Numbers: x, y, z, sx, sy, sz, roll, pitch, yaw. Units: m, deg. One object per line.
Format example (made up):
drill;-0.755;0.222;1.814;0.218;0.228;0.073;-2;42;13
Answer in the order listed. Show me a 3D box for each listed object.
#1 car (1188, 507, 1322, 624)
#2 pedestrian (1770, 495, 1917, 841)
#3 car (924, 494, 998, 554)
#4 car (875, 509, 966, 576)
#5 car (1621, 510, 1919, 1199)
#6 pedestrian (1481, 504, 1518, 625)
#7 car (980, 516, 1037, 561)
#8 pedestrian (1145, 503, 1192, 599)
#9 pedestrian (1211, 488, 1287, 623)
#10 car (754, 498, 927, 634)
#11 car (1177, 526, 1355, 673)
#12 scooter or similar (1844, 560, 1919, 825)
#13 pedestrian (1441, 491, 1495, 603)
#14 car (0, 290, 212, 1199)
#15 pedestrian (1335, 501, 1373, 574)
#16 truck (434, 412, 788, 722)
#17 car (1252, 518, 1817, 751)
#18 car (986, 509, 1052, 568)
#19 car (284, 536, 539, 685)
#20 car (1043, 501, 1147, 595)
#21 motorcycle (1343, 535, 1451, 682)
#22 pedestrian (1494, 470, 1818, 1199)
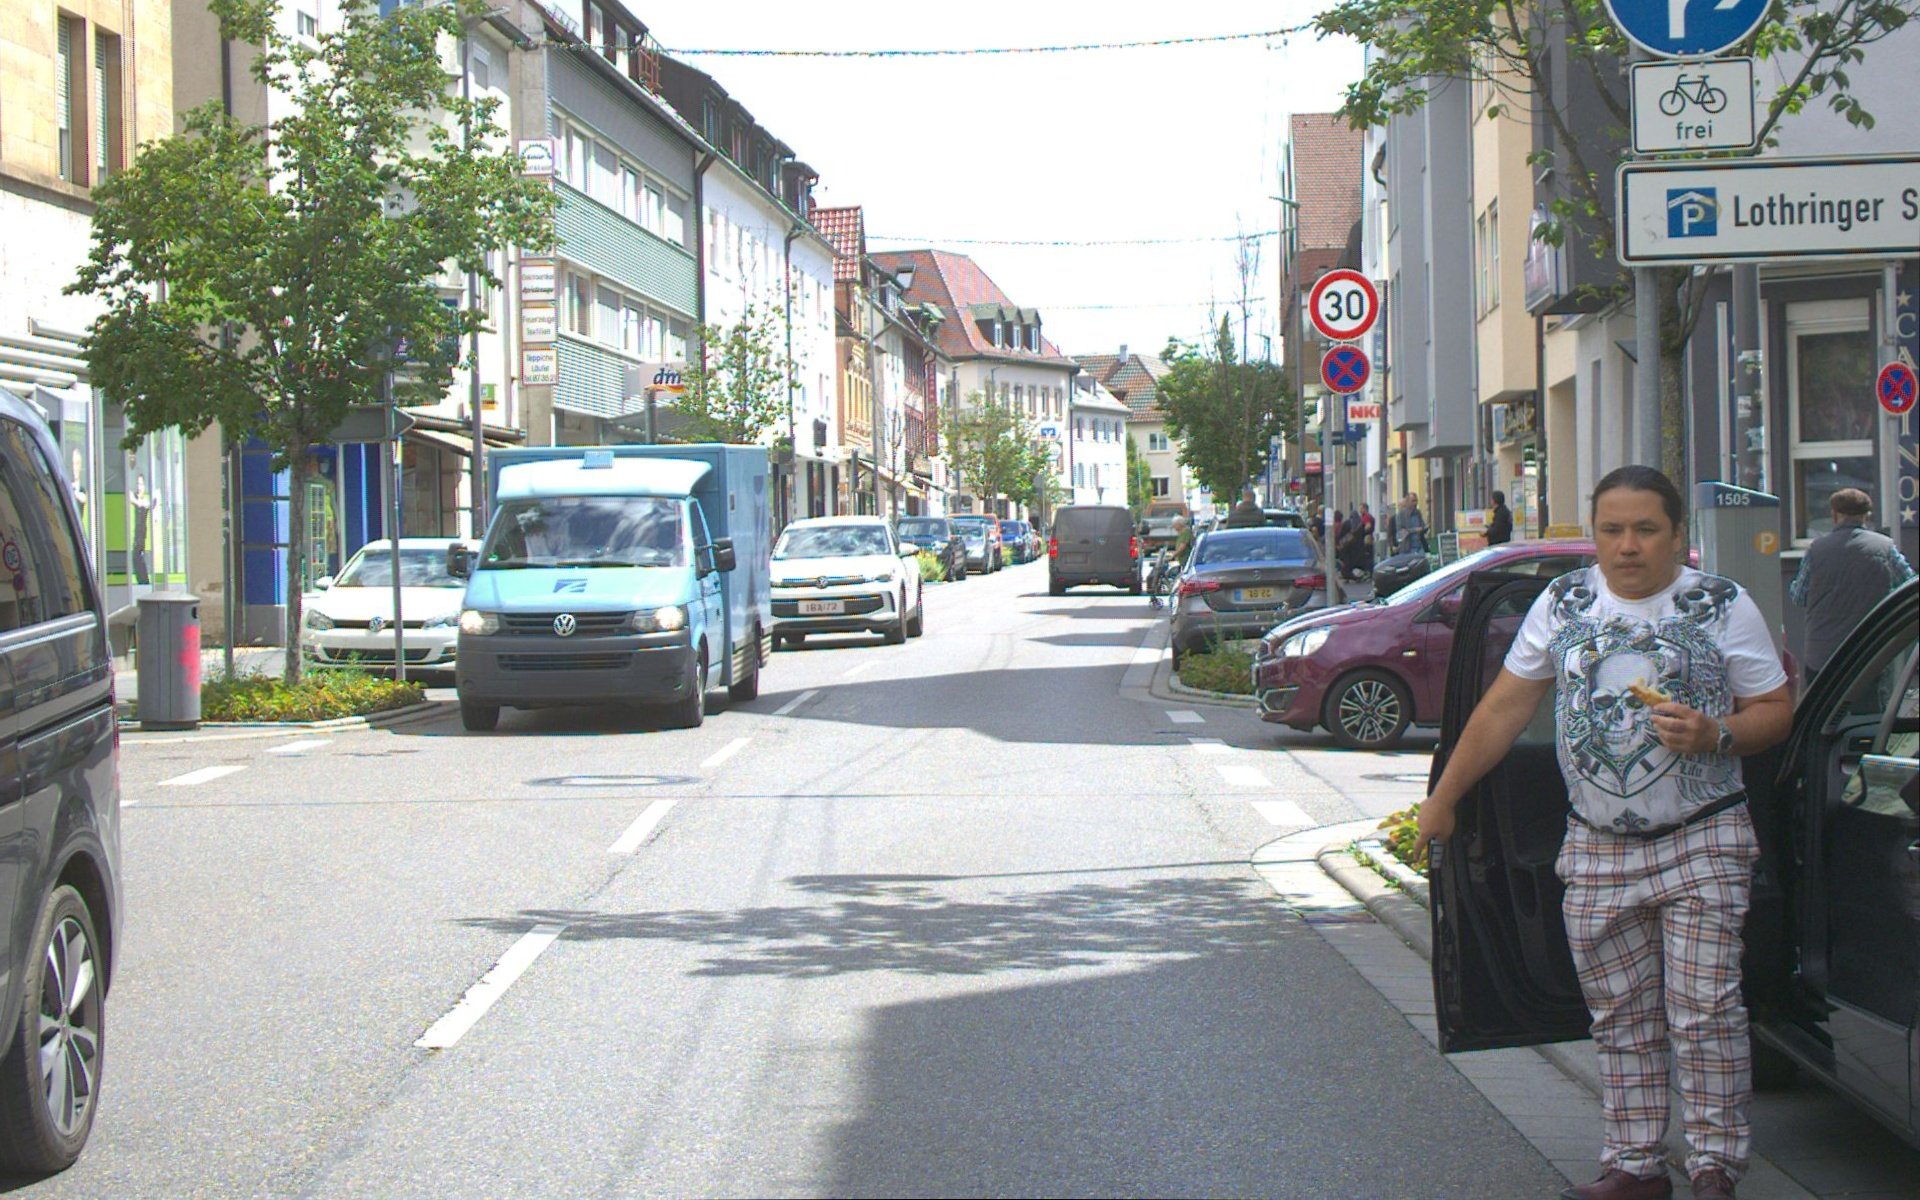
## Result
car;4.380;-0.547;51.487;1.799;1.598;4.204;-2;1;3
pedestrian;4.415;0.333;17.195;0.571;1.697;0.482;1;0;-3
car;0.065;-2.322;105.502;1.816;1.749;4.463;1;1;6
car;-1.033;-1.522;92.327;1.816;1.749;4.667;1;1;7
car;2.669;0.529;7.359;1.715;1.449;4.552;0;1;1
pedestrian;7.674;-0.506;48.942;0.435;1.712;0.537;1;0;2
car;1.792;-2.257;125.507;1.799;1.592;4.388;0;1;5
pedestrian;3.529;-0.831;58.326;0.731;1.612;0.651;1;0;0
pedestrian;4.114;-0.630;48.938;0.975;1.857;0.864;-2;0;3
car;-1.478;-0.430;43.927;1.788;1.634;4.115;1;1;4
car;3.238;-0.027;35.791;1.707;1.415;4.317;1;1;7
scooter or similar;4.808;0.440;17.172;0.430;1.276;1.249;1;0;-1
pedestrian;7.802;-0.811;52.832;0.743;1.712;0.656;-1;0;3
car;-2.921;0.365;6.264;1.871;1.926;5.176;-1;2;1
pedestrian;8.467;-1.343;73.852;0.750;1.548;0.726;-1;0;4
truck;-2.791;-0.282;29.093;2.106;2.297;6.476;1;1;2
car;3.961;0.224;24.138;3.747;1.525;1.537;1;0;3
car;1.971;-2.015;113.487;1.816;1.882;4.840;1;1;5
car;-5.497;0.082;34.929;1.845;1.393;4.037;1;1;1
car;2.853;-1.069;71.570;2.041;1.842;4.999;1;0;3
motorcycle;3.884;0.060;30.718;0.659;1.255;2.376;1;1;0
pedestrian;1.516;0.526;7.453;0.584;1.594;0.547;1;0;21
